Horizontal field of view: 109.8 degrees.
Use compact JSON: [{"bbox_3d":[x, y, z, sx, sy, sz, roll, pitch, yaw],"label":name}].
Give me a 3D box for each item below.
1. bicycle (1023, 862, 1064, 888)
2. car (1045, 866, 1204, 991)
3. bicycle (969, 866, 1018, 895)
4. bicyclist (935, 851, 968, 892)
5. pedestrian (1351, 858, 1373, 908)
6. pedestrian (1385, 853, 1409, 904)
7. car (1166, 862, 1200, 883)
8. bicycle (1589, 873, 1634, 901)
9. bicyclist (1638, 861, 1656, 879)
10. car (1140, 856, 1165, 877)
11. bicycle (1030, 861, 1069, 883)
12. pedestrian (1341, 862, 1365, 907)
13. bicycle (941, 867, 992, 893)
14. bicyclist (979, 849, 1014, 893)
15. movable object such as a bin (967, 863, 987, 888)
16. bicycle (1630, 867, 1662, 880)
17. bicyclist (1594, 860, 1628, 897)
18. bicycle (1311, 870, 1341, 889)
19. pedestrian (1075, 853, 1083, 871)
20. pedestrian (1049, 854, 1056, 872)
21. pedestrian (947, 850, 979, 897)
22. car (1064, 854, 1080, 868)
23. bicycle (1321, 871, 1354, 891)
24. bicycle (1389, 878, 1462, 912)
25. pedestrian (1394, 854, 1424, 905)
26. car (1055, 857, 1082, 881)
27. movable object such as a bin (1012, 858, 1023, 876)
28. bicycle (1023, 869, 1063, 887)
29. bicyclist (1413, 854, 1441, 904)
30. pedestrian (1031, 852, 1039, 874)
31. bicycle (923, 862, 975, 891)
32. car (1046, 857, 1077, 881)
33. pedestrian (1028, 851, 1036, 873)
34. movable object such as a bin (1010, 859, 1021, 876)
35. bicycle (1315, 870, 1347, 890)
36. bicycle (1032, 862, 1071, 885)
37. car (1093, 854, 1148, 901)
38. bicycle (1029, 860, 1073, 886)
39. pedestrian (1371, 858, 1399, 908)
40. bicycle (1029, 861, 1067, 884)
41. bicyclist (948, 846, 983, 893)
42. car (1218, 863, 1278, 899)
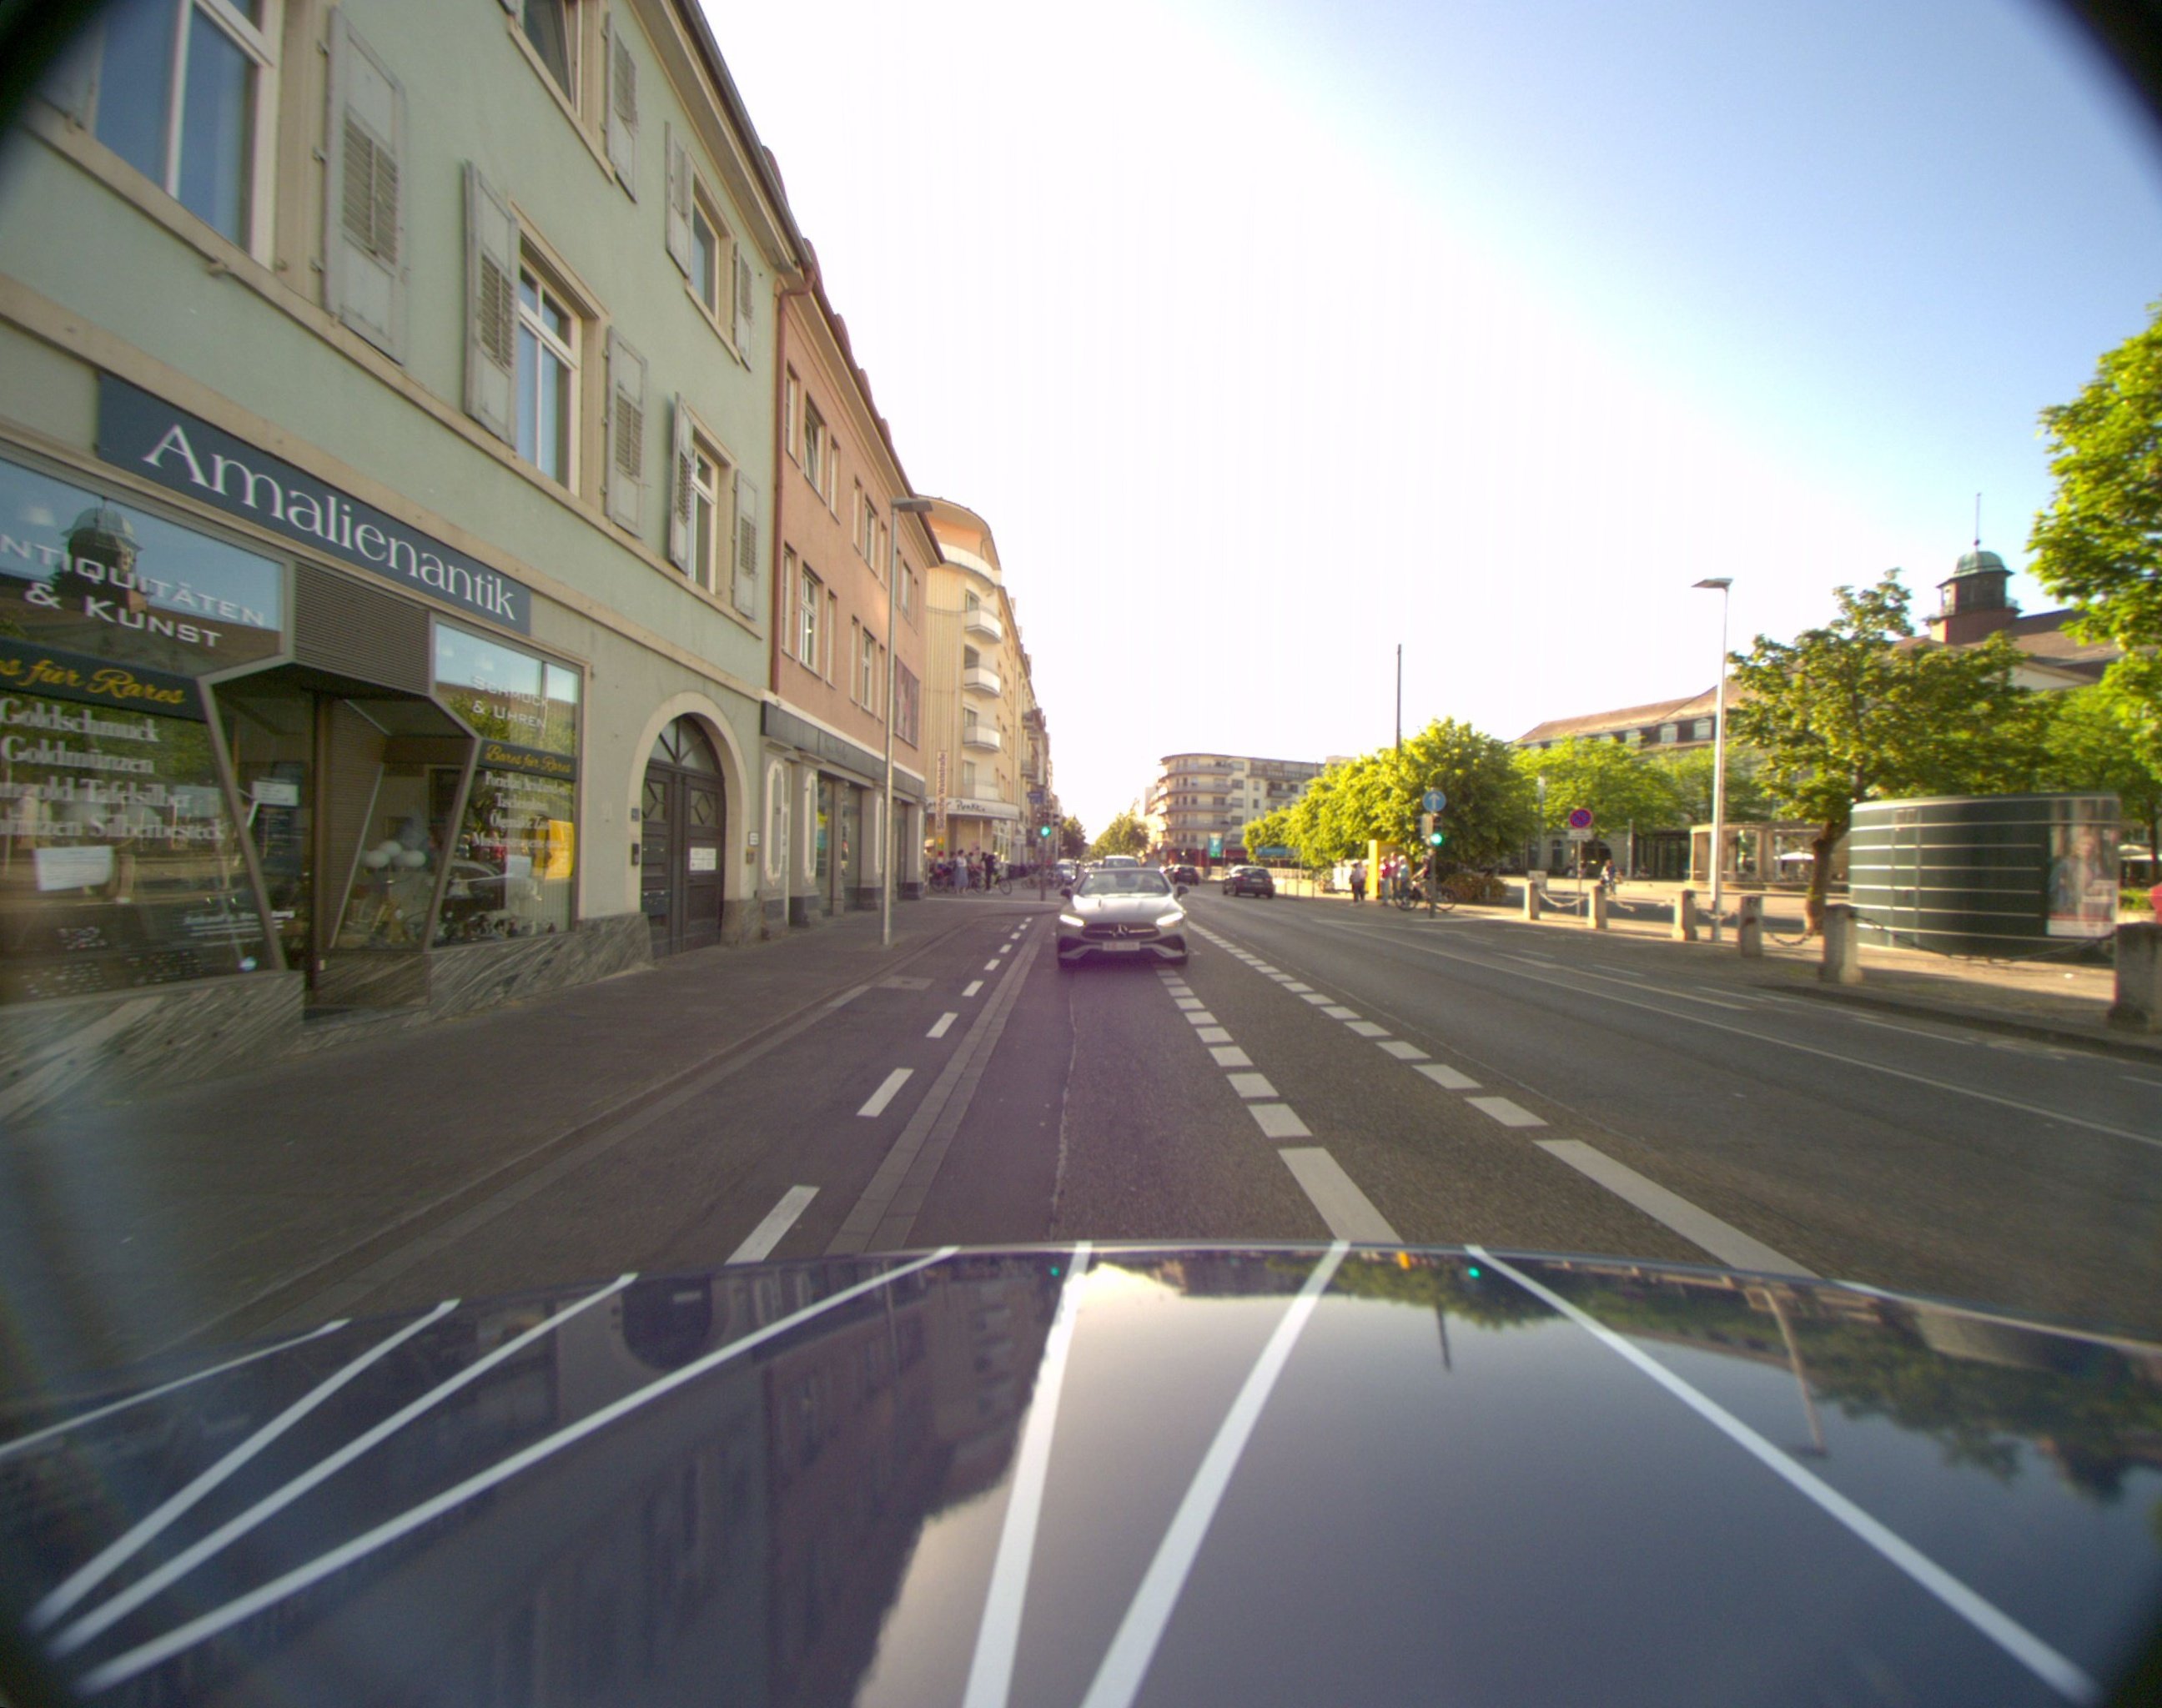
[{"bbox_3d":[-1.830,1.032,37.035,1.946,1.205,0.933,1,0,-5],"label":"bicycle"},{"bbox_3d":[0.613,0.946,11.450,1.910,1.453,4.364,-1,0,2],"label":"car"},{"bbox_3d":[-3.444,1.029,29.921,1.910,1.014,0.561,3,1,28],"label":"bicycle"},{"bbox_3d":[-5.120,0.679,30.027,1.028,1.574,0.727,1,0,22],"label":"bicyclist"},{"bbox_3d":[10.637,1.085,28.754,0.650,1.846,0.626,1,0,32],"label":"pedestrian"},{"bbox_3d":[12.052,0.937,28.992,0.609,1.907,0.784,1,0,2],"label":"pedestrian"},{"bbox_3d":[7.486,1.320,56.036,1.753,1.415,4.254,0,0,-2],"label":"car"},{"bbox_3d":[23.379,1.439,33.539,0.941,1.126,2.482,1,0,19],"label":"bicycle"},{"bbox_3d":[46.996,1.329,63.089,0.951,1.463,0.647,0,0,3],"label":"bicyclist"},{"bbox_3d":[7.279,1.218,77.526,1.999,1.935,4.783,4,0,0],"label":"car"},{"bbox_3d":[-1.657,0.963,40.601,2.026,1.143,0.716,2,0,1],"label":"bicycle"},{"bbox_3d":[10.125,1.127,28.271,0.686,1.663,0.699,1,0,32],"label":"pedestrian"},{"bbox_3d":[-4.378,0.990,29.010,1.824,0.988,0.563,1,0,-21],"label":"bicycle"},{"bbox_3d":[-3.310,0.646,29.730,1.129,1.675,0.727,1,0,28],"label":"bicyclist"},{"bbox_3d":[-4.752,0.984,34.799,0.810,1.106,0.620,1,0,-1],"label":"movable object such as a bin"},{"bbox_3d":[46.926,1.614,63.104,2.122,1.097,0.697,1,0,2],"label":"bicycle"},{"bbox_3d":[23.376,1.070,33.543,0.941,1.599,1.172,1,0,18],"label":"bicyclist"},{"bbox_3d":[13.372,1.397,41.527,1.529,1.025,0.364,1,0,15],"label":"bicycle"},{"bbox_3d":[-0.206,0.878,80.852,0.610,1.912,0.714,1,0,12],"label":"pedestrian"},{"bbox_3d":[-2.924,0.942,78.154,0.694,1.895,0.906,1,0,-3],"label":"pedestrian"},{"bbox_3d":[-4.223,0.698,27.146,0.813,1.649,0.768,0,0,37],"label":"pedestrian"},{"bbox_3d":[-1.179,0.913,101.065,1.998,1.717,4.000,1,0,1],"label":"car"},{"bbox_3d":[13.380,1.406,39.622,1.559,0.996,0.364,1,0,0],"label":"bicycle"},{"bbox_3d":[11.466,1.363,25.363,2.171,1.065,0.765,-2,-1,21],"label":"bicycle"},{"bbox_3d":[11.754,0.909,27.244,0.590,1.801,0.782,1,0,-26],"label":"pedestrian"},{"bbox_3d":[-1.020,1.119,58.690,1.999,1.724,4.198,1,0,-2],"label":"car"},{"bbox_3d":[-4.496,0.901,53.934,0.703,1.232,0.960,1,0,1],"label":"movable object such as a bin"},{"bbox_3d":[-1.830,1.162,36.470,1.848,0.826,0.741,1,0,-5],"label":"bicycle"},{"bbox_3d":[11.534,0.808,25.341,0.803,1.638,0.995,0,0,22],"label":"bicyclist"},{"bbox_3d":[-3.995,0.749,65.849,0.694,1.895,0.906,1,0,-3],"label":"pedestrian"},{"bbox_3d":[-5.232,0.895,30.083,1.915,1.090,0.735,1,0,22],"label":"bicycle"},{"bbox_3d":[-1.195,0.924,48.086,1.693,1.390,4.001,1,0,2],"label":"car"},{"bbox_3d":[-4.300,0.720,66.595,0.673,1.942,0.615,1,0,-3],"label":"pedestrian"},{"bbox_3d":[-4.490,0.930,52.166,0.703,1.153,0.960,1,0,1],"label":"movable object such as a bin"},{"bbox_3d":[13.186,1.391,40.107,1.549,1.025,0.364,1,0,0],"label":"bicycle"},{"bbox_3d":[-1.537,1.005,39.289,1.962,1.150,0.755,1,0,1],"label":"bicycle"},{"bbox_3d":[1.480,0.871,29.940,1.998,1.717,4.000,1,0,1],"label":"car"},{"bbox_3d":[-1.524,0.961,38.022,2.142,1.237,0.710,1,0,-4],"label":"bicycle"},{"bbox_3d":[11.196,1.070,27.986,0.591,1.801,0.781,0,0,-44],"label":"pedestrian"},{"bbox_3d":[-1.795,1.004,41.672,2.049,1.174,0.683,1,0,1],"label":"bicycle"},{"bbox_3d":[-4.406,0.580,28.979,1.143,1.751,0.752,1,0,-22],"label":"bicyclist"},{"bbox_3d":[7.563,1.175,34.708,1.654,1.389,4.042,5,0,-1],"label":"car"}]
